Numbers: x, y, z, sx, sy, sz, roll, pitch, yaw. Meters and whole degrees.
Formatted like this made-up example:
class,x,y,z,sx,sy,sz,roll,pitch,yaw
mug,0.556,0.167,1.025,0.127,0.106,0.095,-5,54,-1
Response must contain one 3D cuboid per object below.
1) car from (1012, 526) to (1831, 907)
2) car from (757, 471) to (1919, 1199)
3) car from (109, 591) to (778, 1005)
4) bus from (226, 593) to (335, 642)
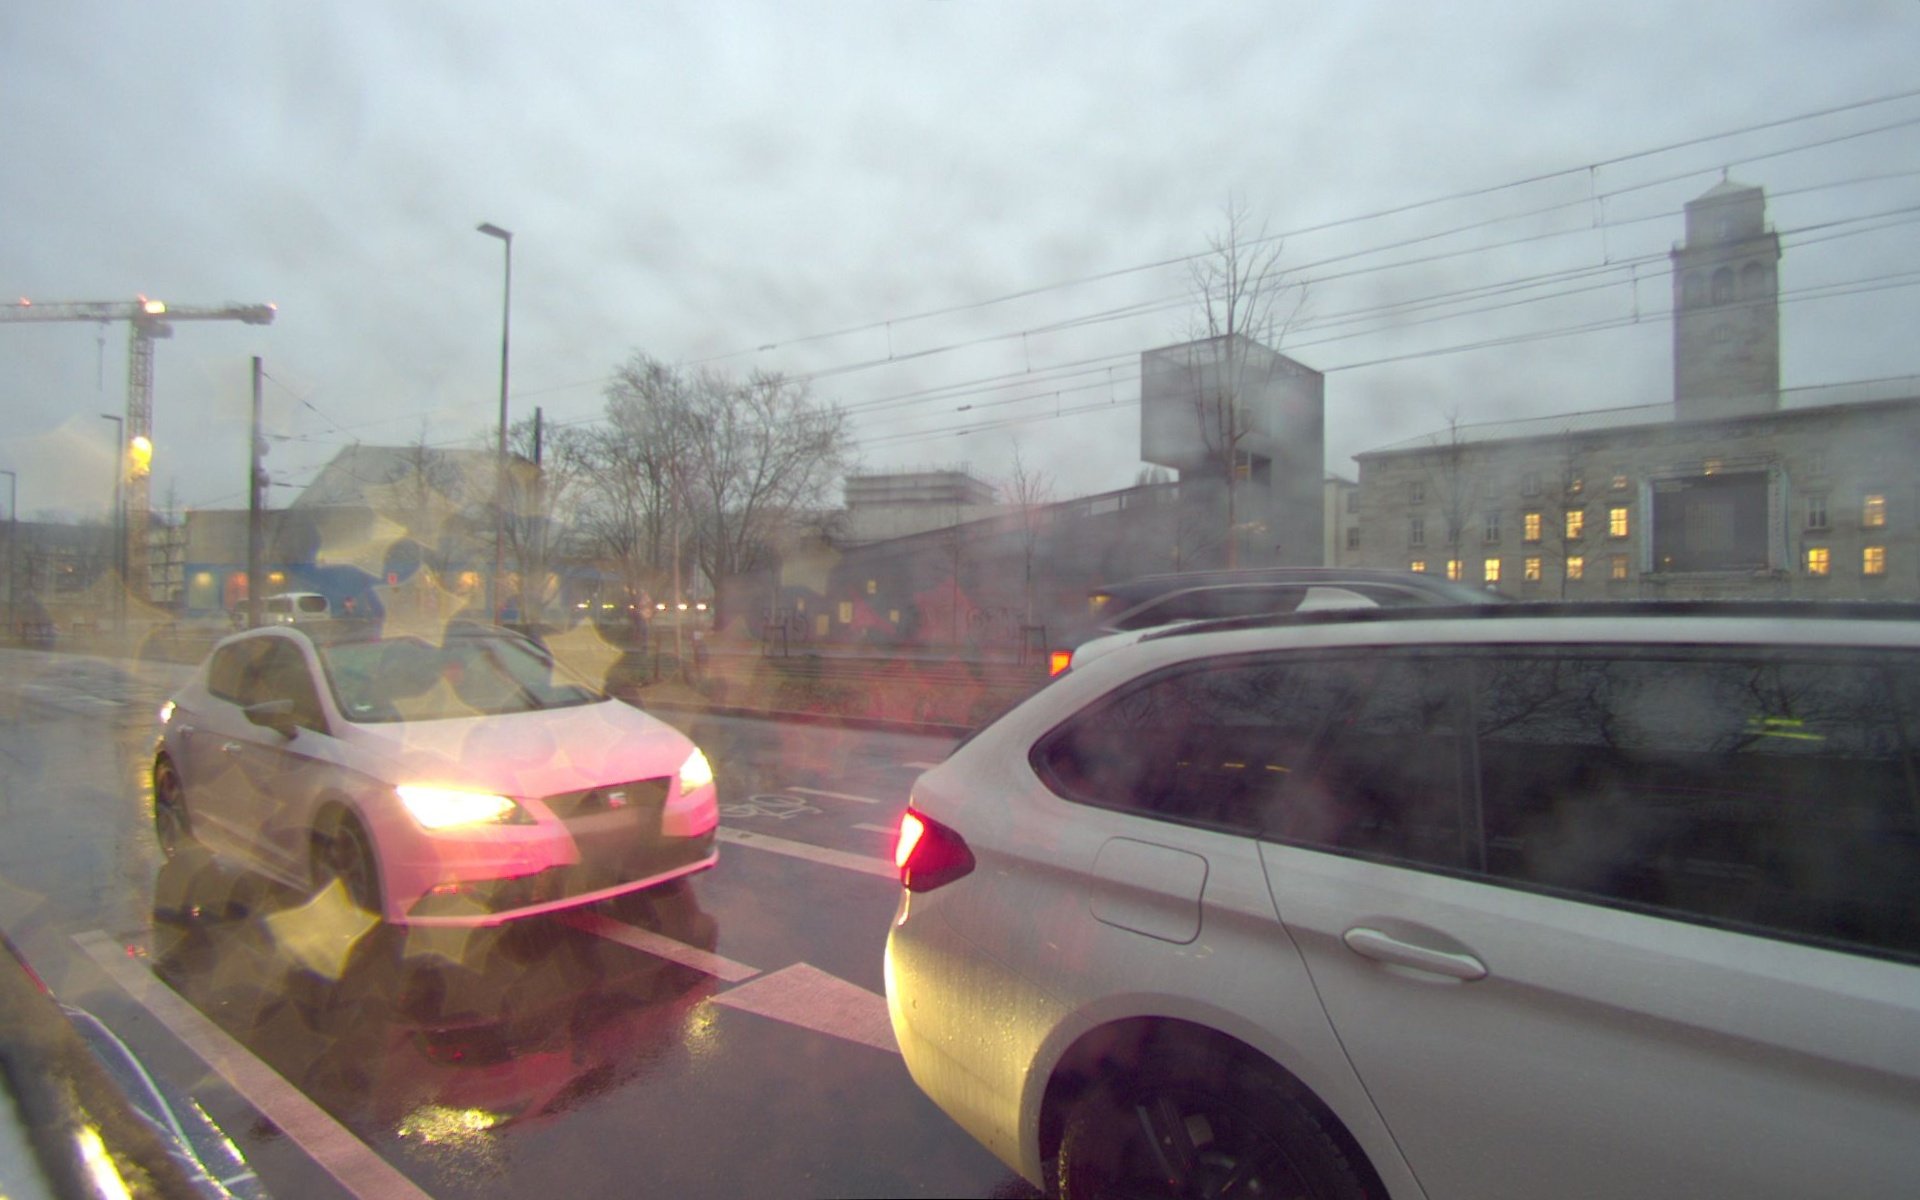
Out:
class,x,y,z,sx,sy,sz,roll,pitch,yaw
car,2.708,0.580,6.772,4.606,1.756,1.686,-1,-2,38
car,1.966,0.628,1.732,4.919,1.532,1.890,-1,-2,40
car,-3.059,0.748,5.625,4.124,1.486,1.757,-1,-1,38
bus,-53.151,1.417,79.023,12.277,3.605,2.783,-1,-2,35
